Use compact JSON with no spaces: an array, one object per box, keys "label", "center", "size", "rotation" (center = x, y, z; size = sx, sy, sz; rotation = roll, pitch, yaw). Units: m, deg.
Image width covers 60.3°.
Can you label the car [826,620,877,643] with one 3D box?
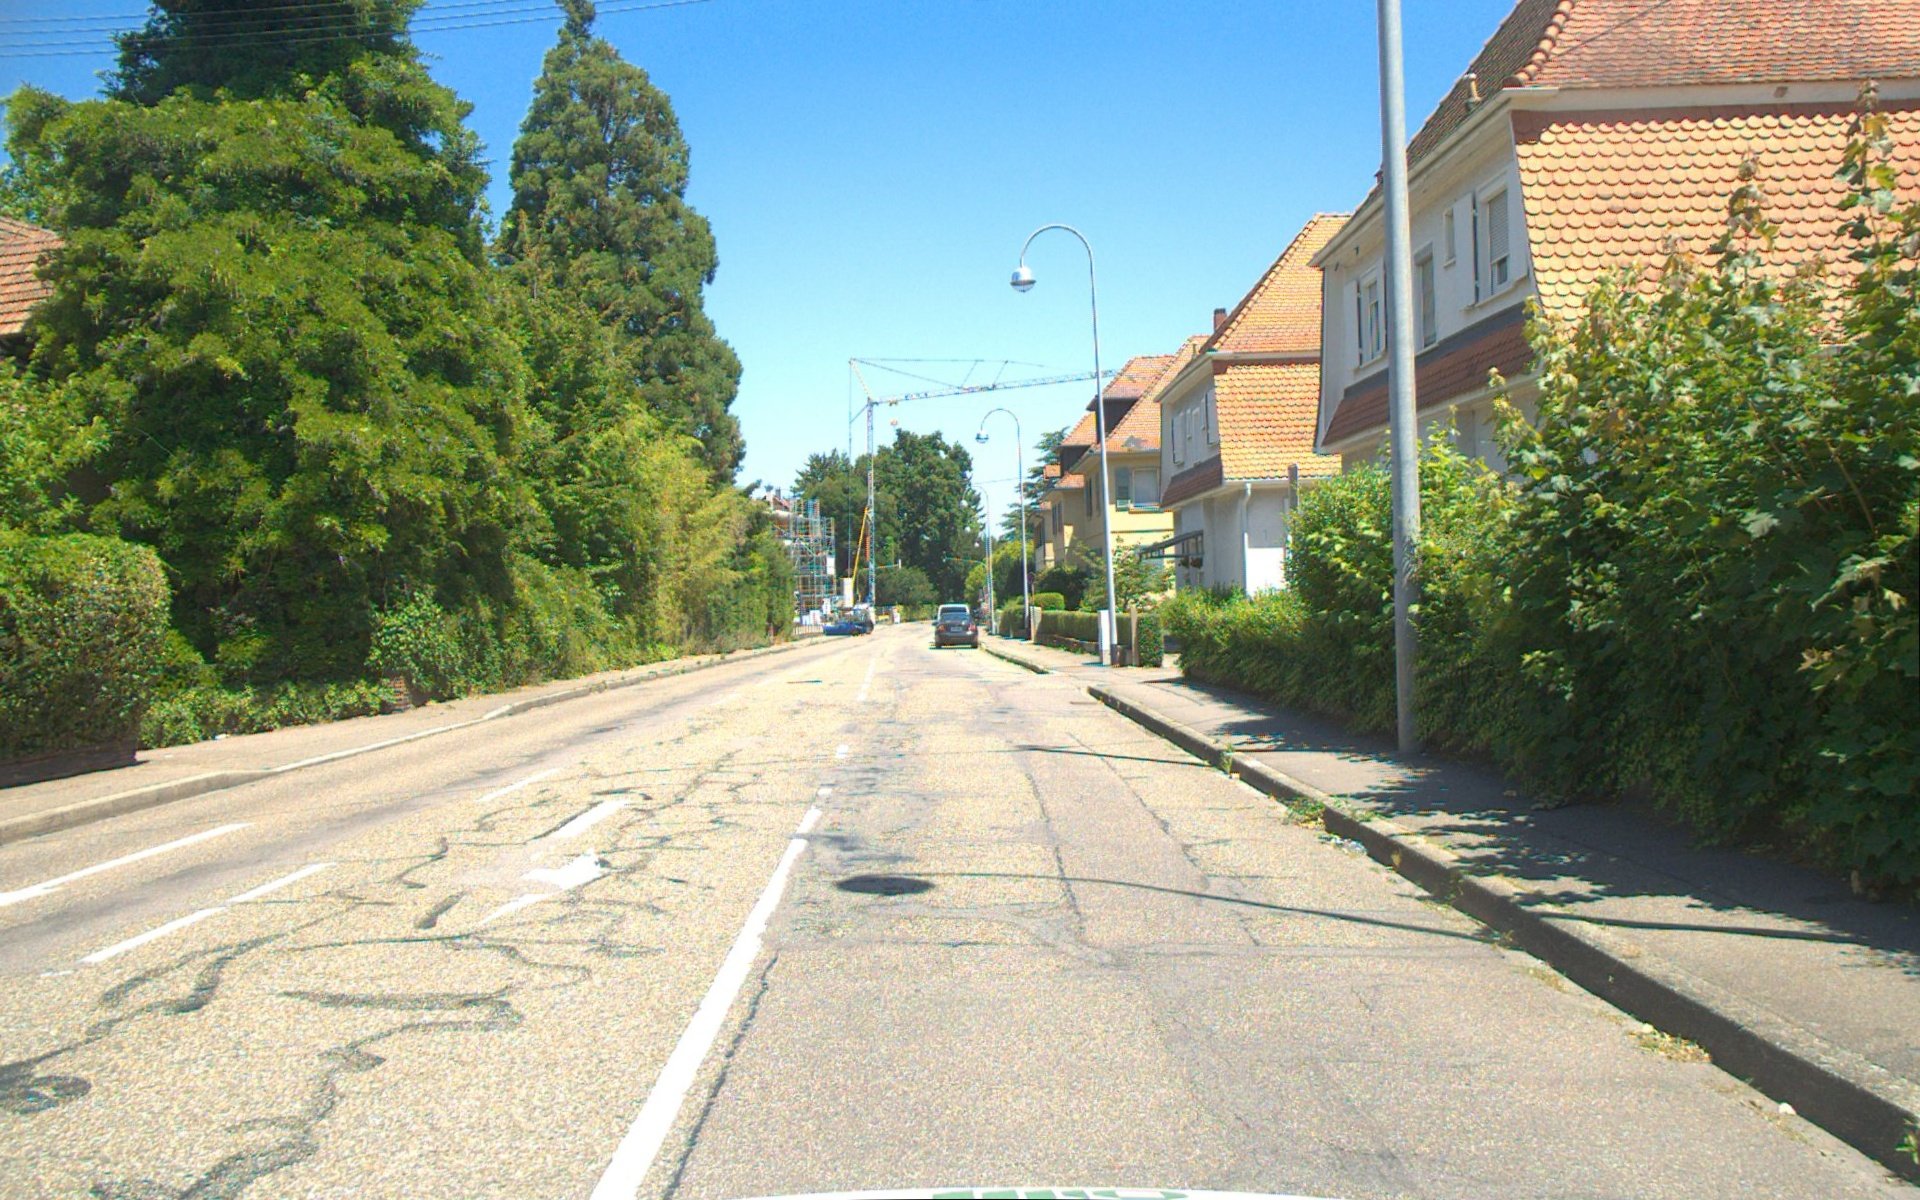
[{"label":"car","center":[-8.570,2.514,131.221],"size":[3.909,1.493,1.963],"rotation":[-4,0,-4]}]

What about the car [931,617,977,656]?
[{"label":"car","center":[-0.277,1.438,66.118],"size":[1.658,1.443,4.549],"rotation":[-2,-1,-2]}]

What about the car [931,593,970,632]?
[{"label":"car","center":[-0.533,0.655,86.162],"size":[1.953,1.934,4.821],"rotation":[0,-1,-1]}]
